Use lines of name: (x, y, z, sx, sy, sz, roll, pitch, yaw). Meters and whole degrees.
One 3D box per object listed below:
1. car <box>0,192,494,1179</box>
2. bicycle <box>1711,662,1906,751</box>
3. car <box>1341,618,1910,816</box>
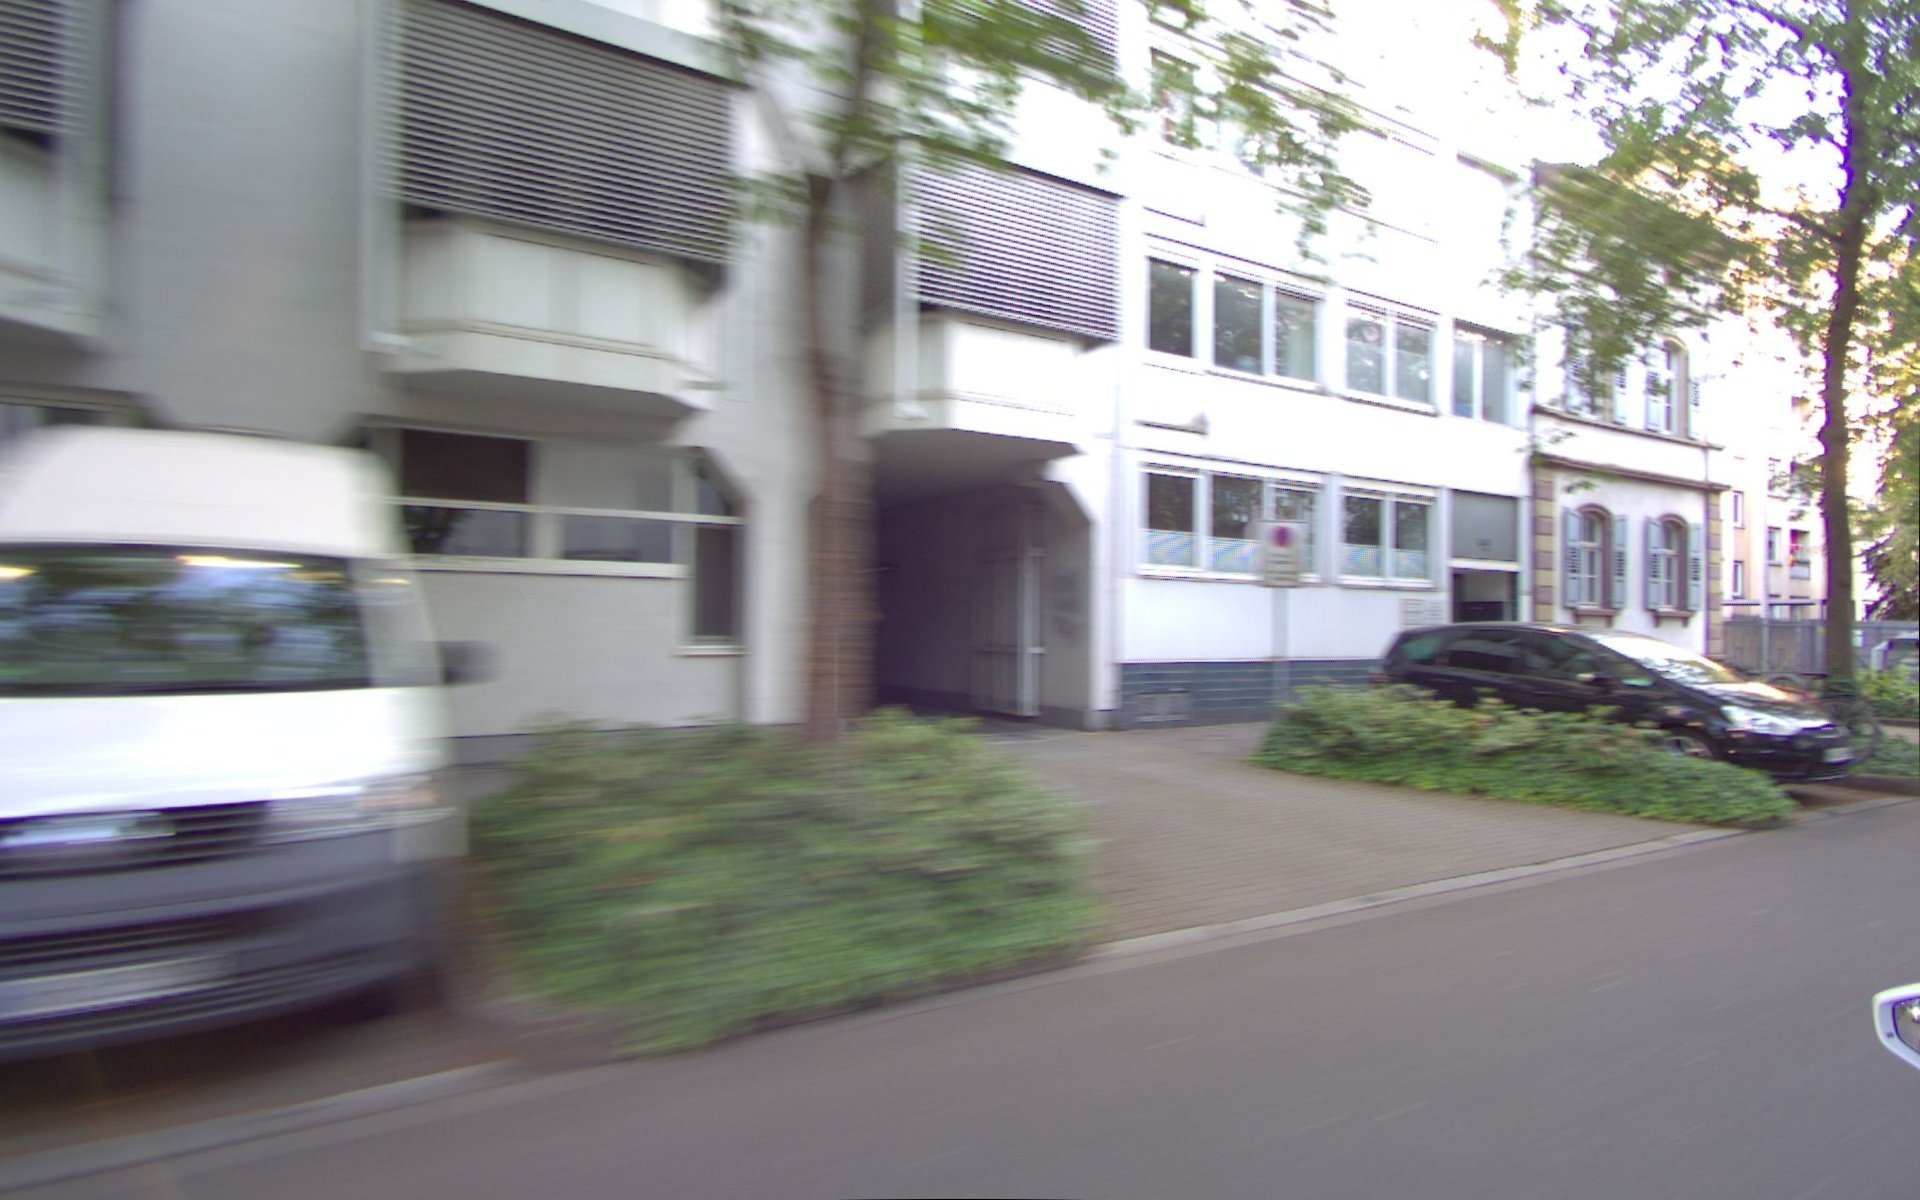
car: (-3.655, 0.253, 4.885, 2.096, 2.607, 4.980, 1, -1, -30)
bicycle: (9.320, 1.140, 11.097, 0.605, 0.841, 1.547, 1, -1, -26)
car: (6.909, 1.048, 11.103, 2.134, 1.643, 4.832, 1, -1, -29)
